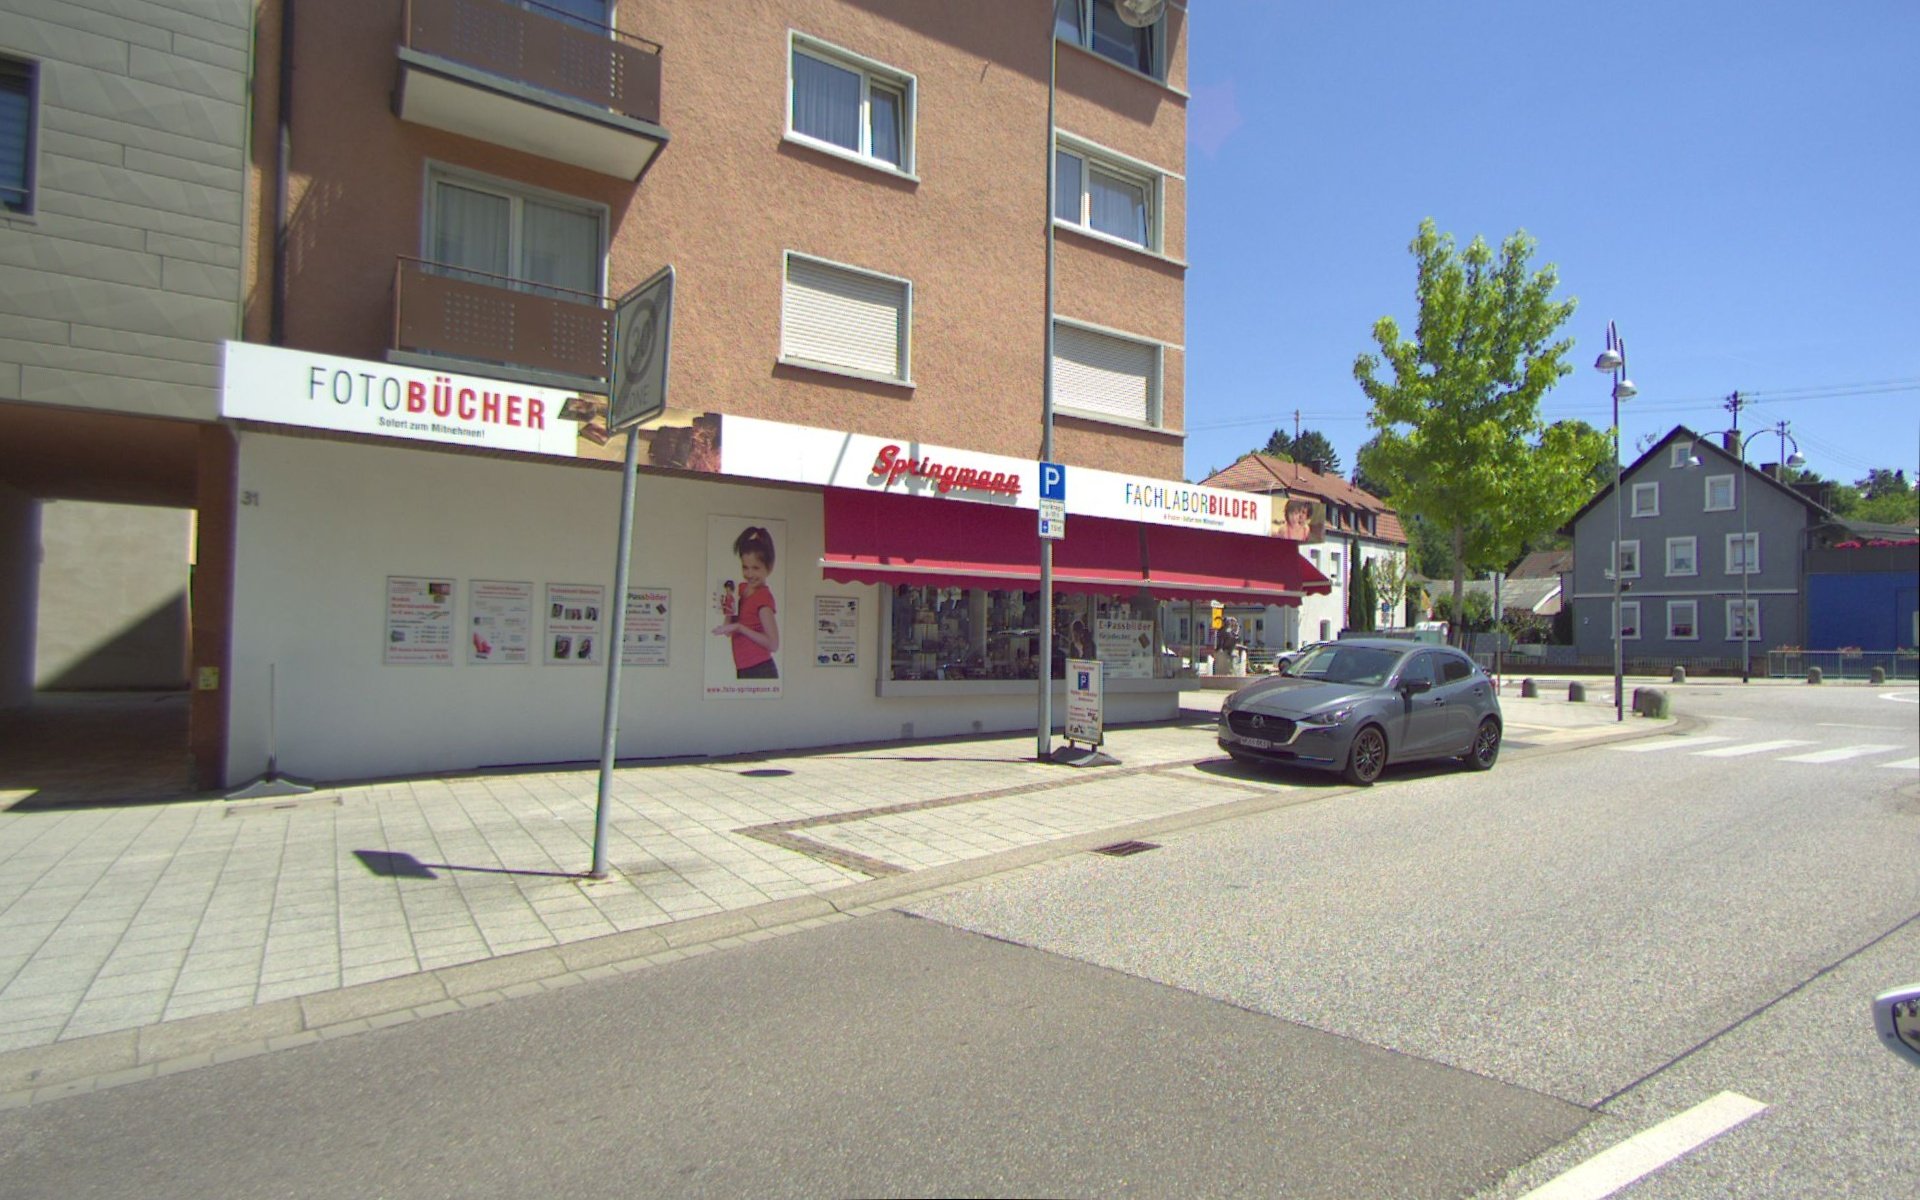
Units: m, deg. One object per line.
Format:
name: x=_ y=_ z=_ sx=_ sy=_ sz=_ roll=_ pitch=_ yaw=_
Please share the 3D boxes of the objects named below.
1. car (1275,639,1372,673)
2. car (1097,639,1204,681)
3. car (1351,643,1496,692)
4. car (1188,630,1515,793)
car: x=17.172 y=2.636 z=47.571 sx=4.018 sy=1.410 sz=1.601 roll=-1 pitch=0 yaw=41
car: x=7.481 y=2.316 z=39.773 sx=1.782 sy=1.544 sz=3.954 roll=2 pitch=-2 yaw=-40
car: x=15.595 y=2.243 z=33.885 sx=4.356 sy=1.476 sz=1.767 roll=0 pitch=-3 yaw=27
car: x=4.636 y=1.155 z=11.664 sx=4.023 sy=1.506 sz=1.655 roll=2 pitch=0 yaw=-37
